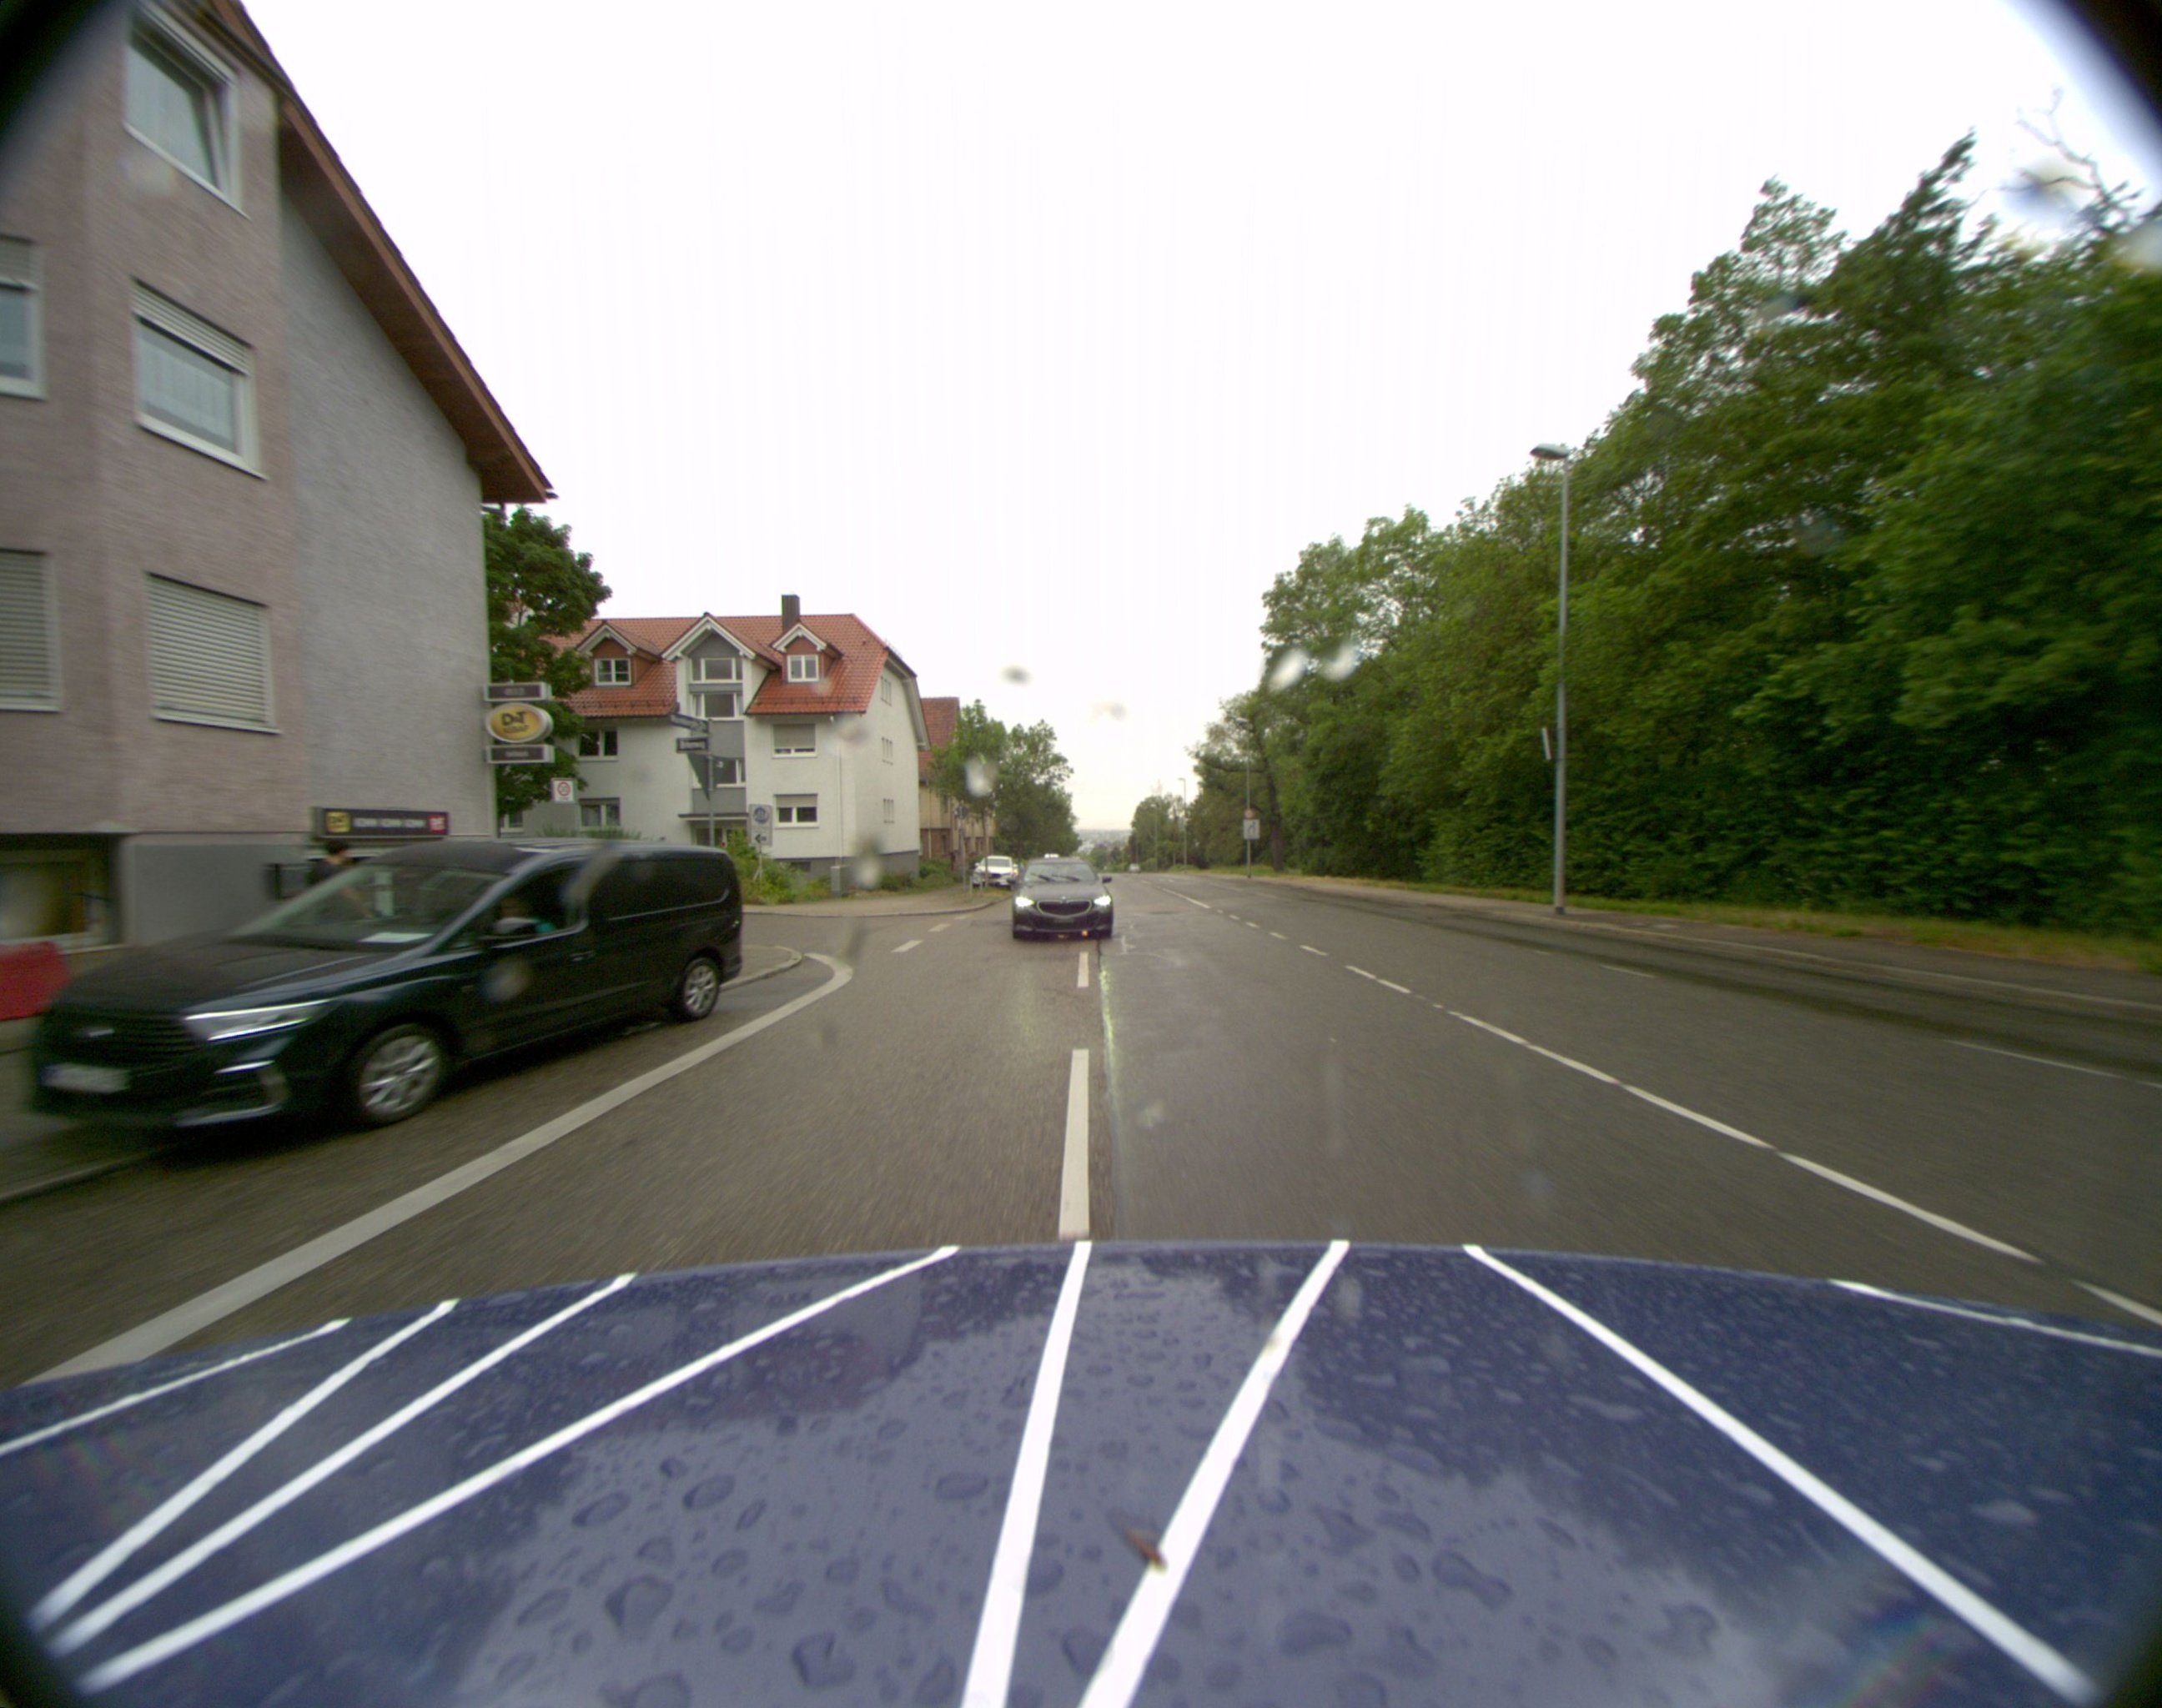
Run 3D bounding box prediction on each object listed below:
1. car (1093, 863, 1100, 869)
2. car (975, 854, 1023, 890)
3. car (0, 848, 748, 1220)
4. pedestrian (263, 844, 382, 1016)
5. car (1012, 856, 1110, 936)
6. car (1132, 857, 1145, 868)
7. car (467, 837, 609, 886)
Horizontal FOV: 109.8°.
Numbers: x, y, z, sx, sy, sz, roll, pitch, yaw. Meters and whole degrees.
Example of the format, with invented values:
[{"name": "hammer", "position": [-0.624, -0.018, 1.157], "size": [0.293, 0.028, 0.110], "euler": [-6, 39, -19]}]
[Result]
[{"name": "car", "position": [4.054, 3.186, 200.138], "size": [1.890, 1.587, 4.363], "euler": [-1, 1, 2]}, {"name": "car", "position": [-4.016, 0.842, 37.757], "size": [1.927, 1.651, 4.483], "euler": [-1, 0, -1]}, {"name": "car", "position": [-4.957, 0.886, 6.236], "size": [1.847, 1.797, 4.687], "euler": [2, 1, 8]}, {"name": "pedestrian", "position": [-8.181, 0.797, 8.220], "size": [0.619, 1.783, 0.576], "euler": [-2, 1, 2]}, {"name": "car", "position": [-0.355, 0.806, 16.642], "size": [1.855, 1.461, 4.482], "euler": [0, 1, 1]}, {"name": "car", "position": [9.471, 1.402, 124.520], "size": [1.890, 1.587, 4.363], "euler": [-1, 1, 2]}, {"name": "car", "position": [-16.387, 0.190, 23.146], "size": [1.646, 1.364, 3.528], "euler": [-1, 1, 3]}]
